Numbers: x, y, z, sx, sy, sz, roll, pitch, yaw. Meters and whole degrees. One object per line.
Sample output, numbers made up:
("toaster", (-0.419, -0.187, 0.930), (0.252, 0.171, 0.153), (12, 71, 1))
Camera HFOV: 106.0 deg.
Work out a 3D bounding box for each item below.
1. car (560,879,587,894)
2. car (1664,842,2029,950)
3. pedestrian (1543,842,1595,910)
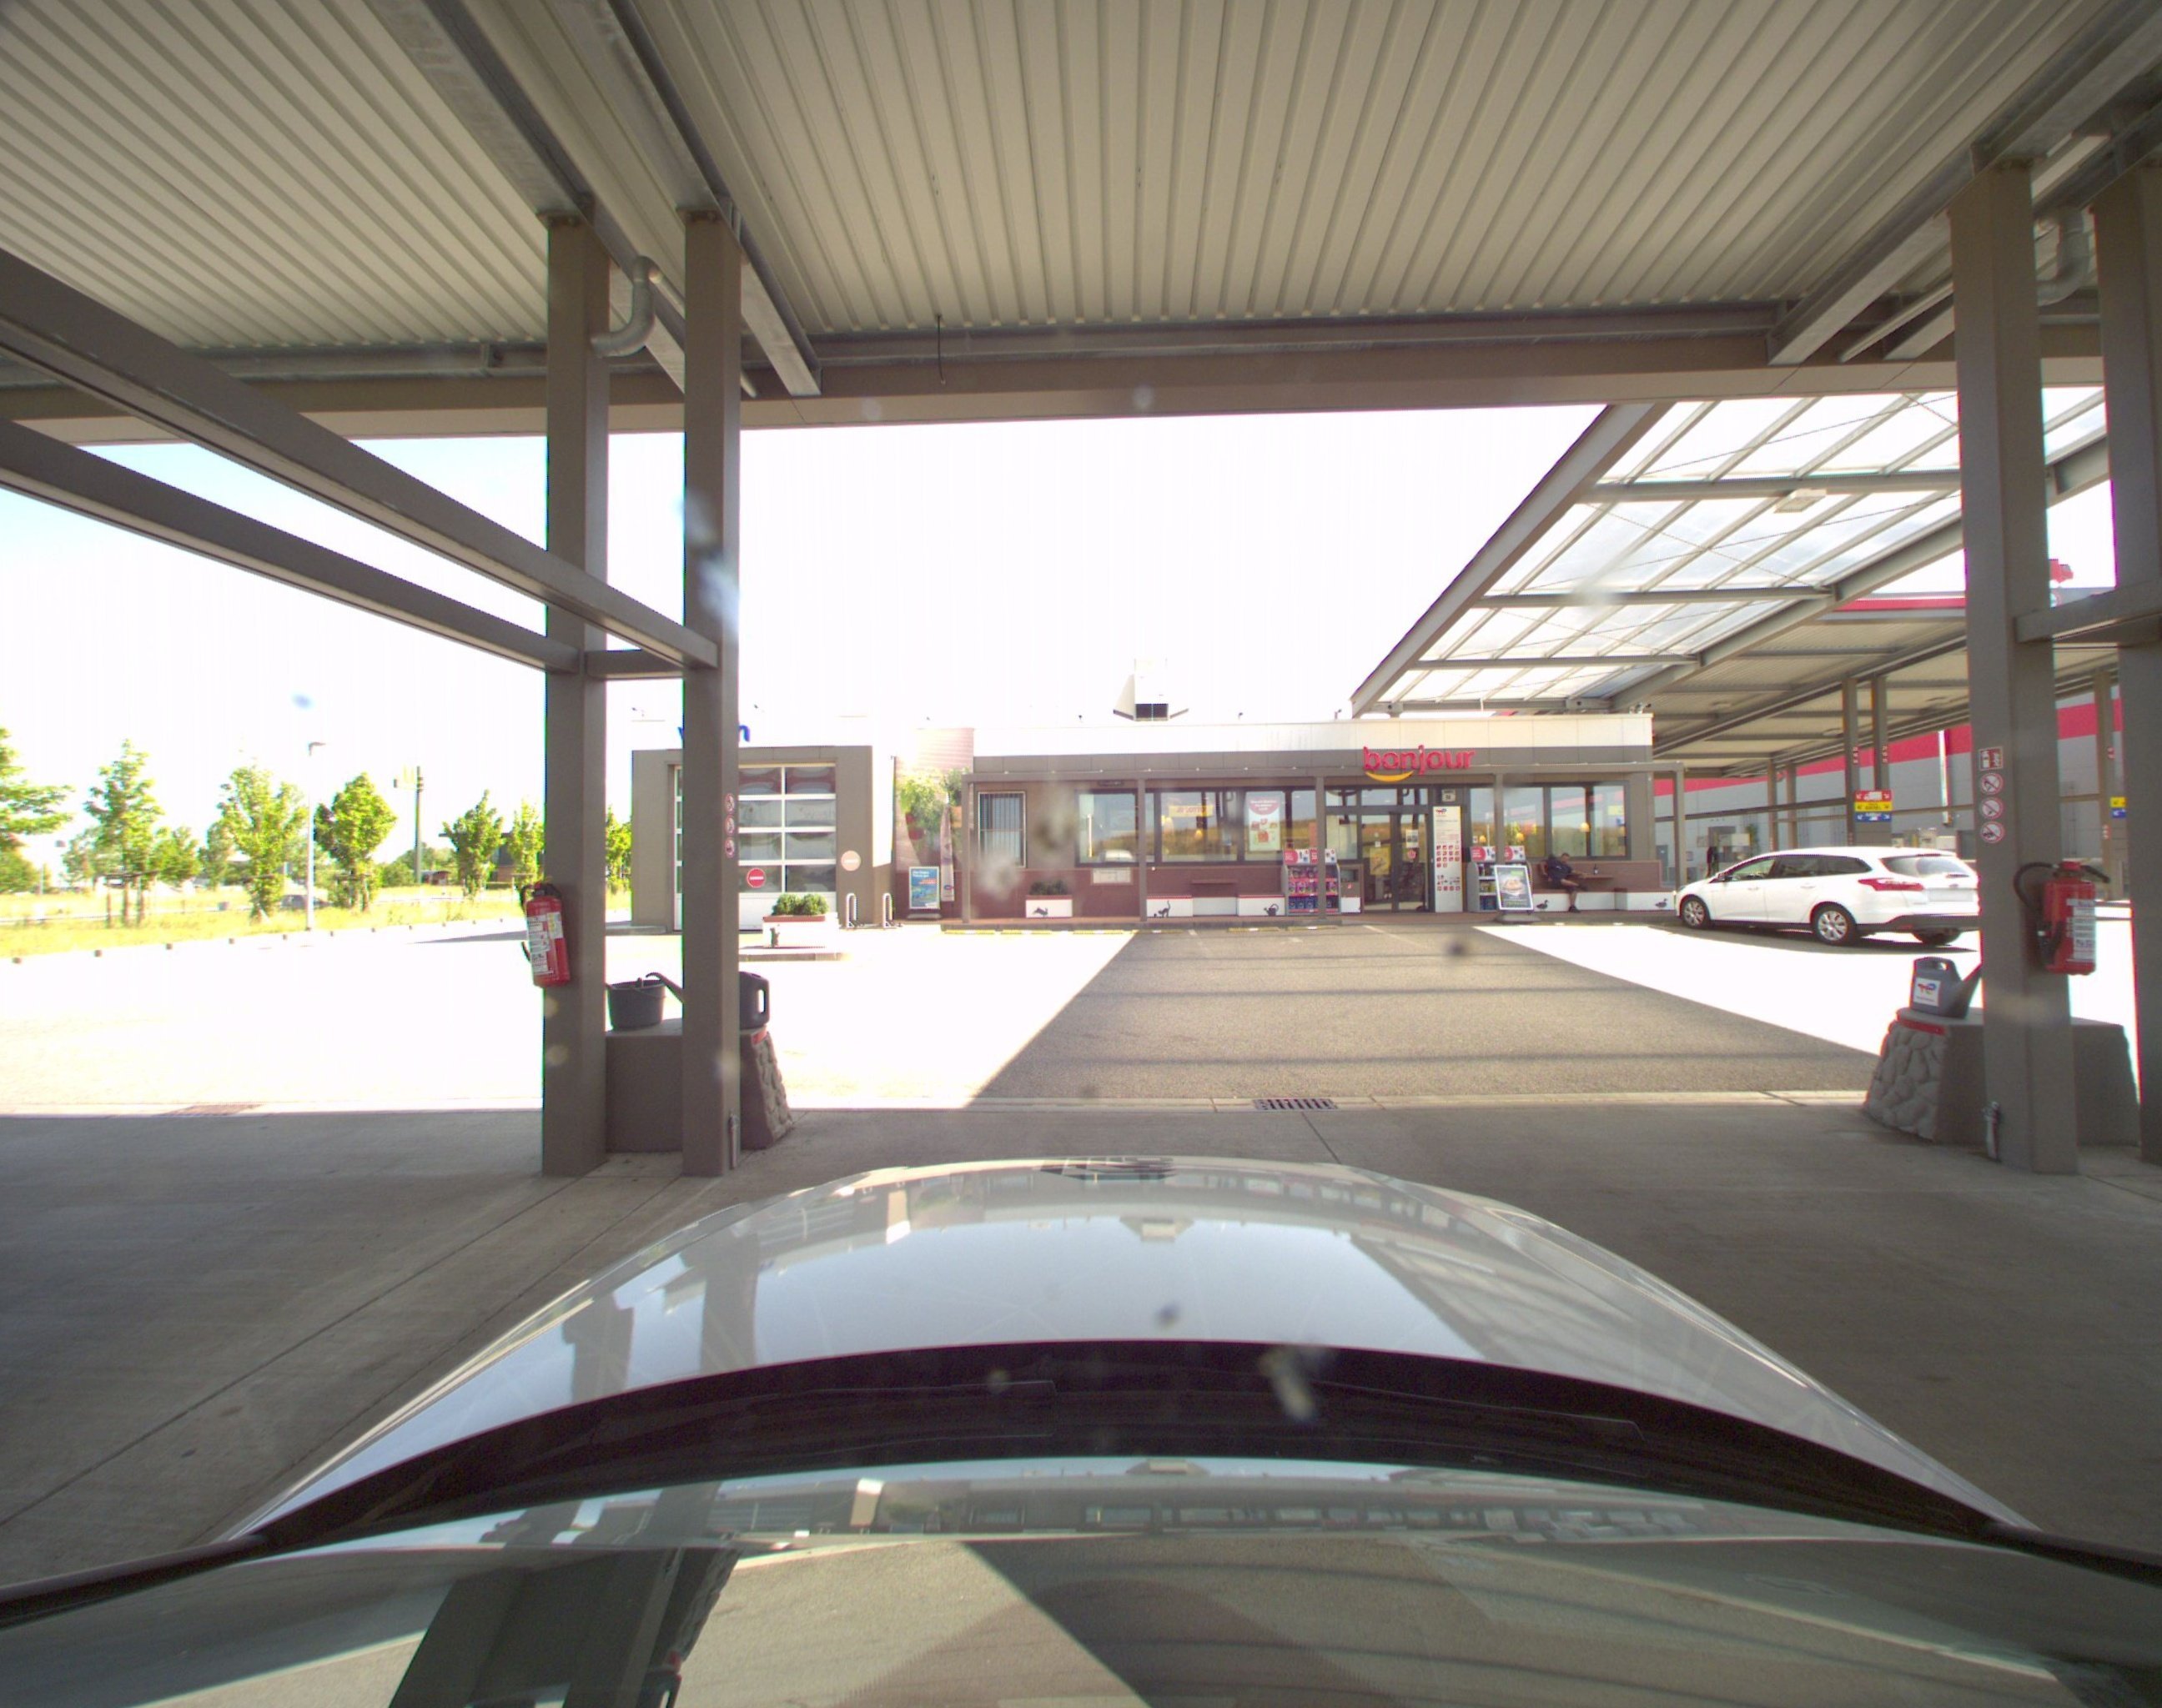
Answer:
("car", (-57.982, 3.700, 93.105), (1.803, 1.596, 3.973), (-1, 0, -20))
("car", (12.154, 0.598, 13.430), (1.826, 1.457, 4.315), (-1, 0, -3))
("pedestrian", (10.544, 0.464, 17.620), (0.698, 1.432, 0.673), (-1, -1, 1))
